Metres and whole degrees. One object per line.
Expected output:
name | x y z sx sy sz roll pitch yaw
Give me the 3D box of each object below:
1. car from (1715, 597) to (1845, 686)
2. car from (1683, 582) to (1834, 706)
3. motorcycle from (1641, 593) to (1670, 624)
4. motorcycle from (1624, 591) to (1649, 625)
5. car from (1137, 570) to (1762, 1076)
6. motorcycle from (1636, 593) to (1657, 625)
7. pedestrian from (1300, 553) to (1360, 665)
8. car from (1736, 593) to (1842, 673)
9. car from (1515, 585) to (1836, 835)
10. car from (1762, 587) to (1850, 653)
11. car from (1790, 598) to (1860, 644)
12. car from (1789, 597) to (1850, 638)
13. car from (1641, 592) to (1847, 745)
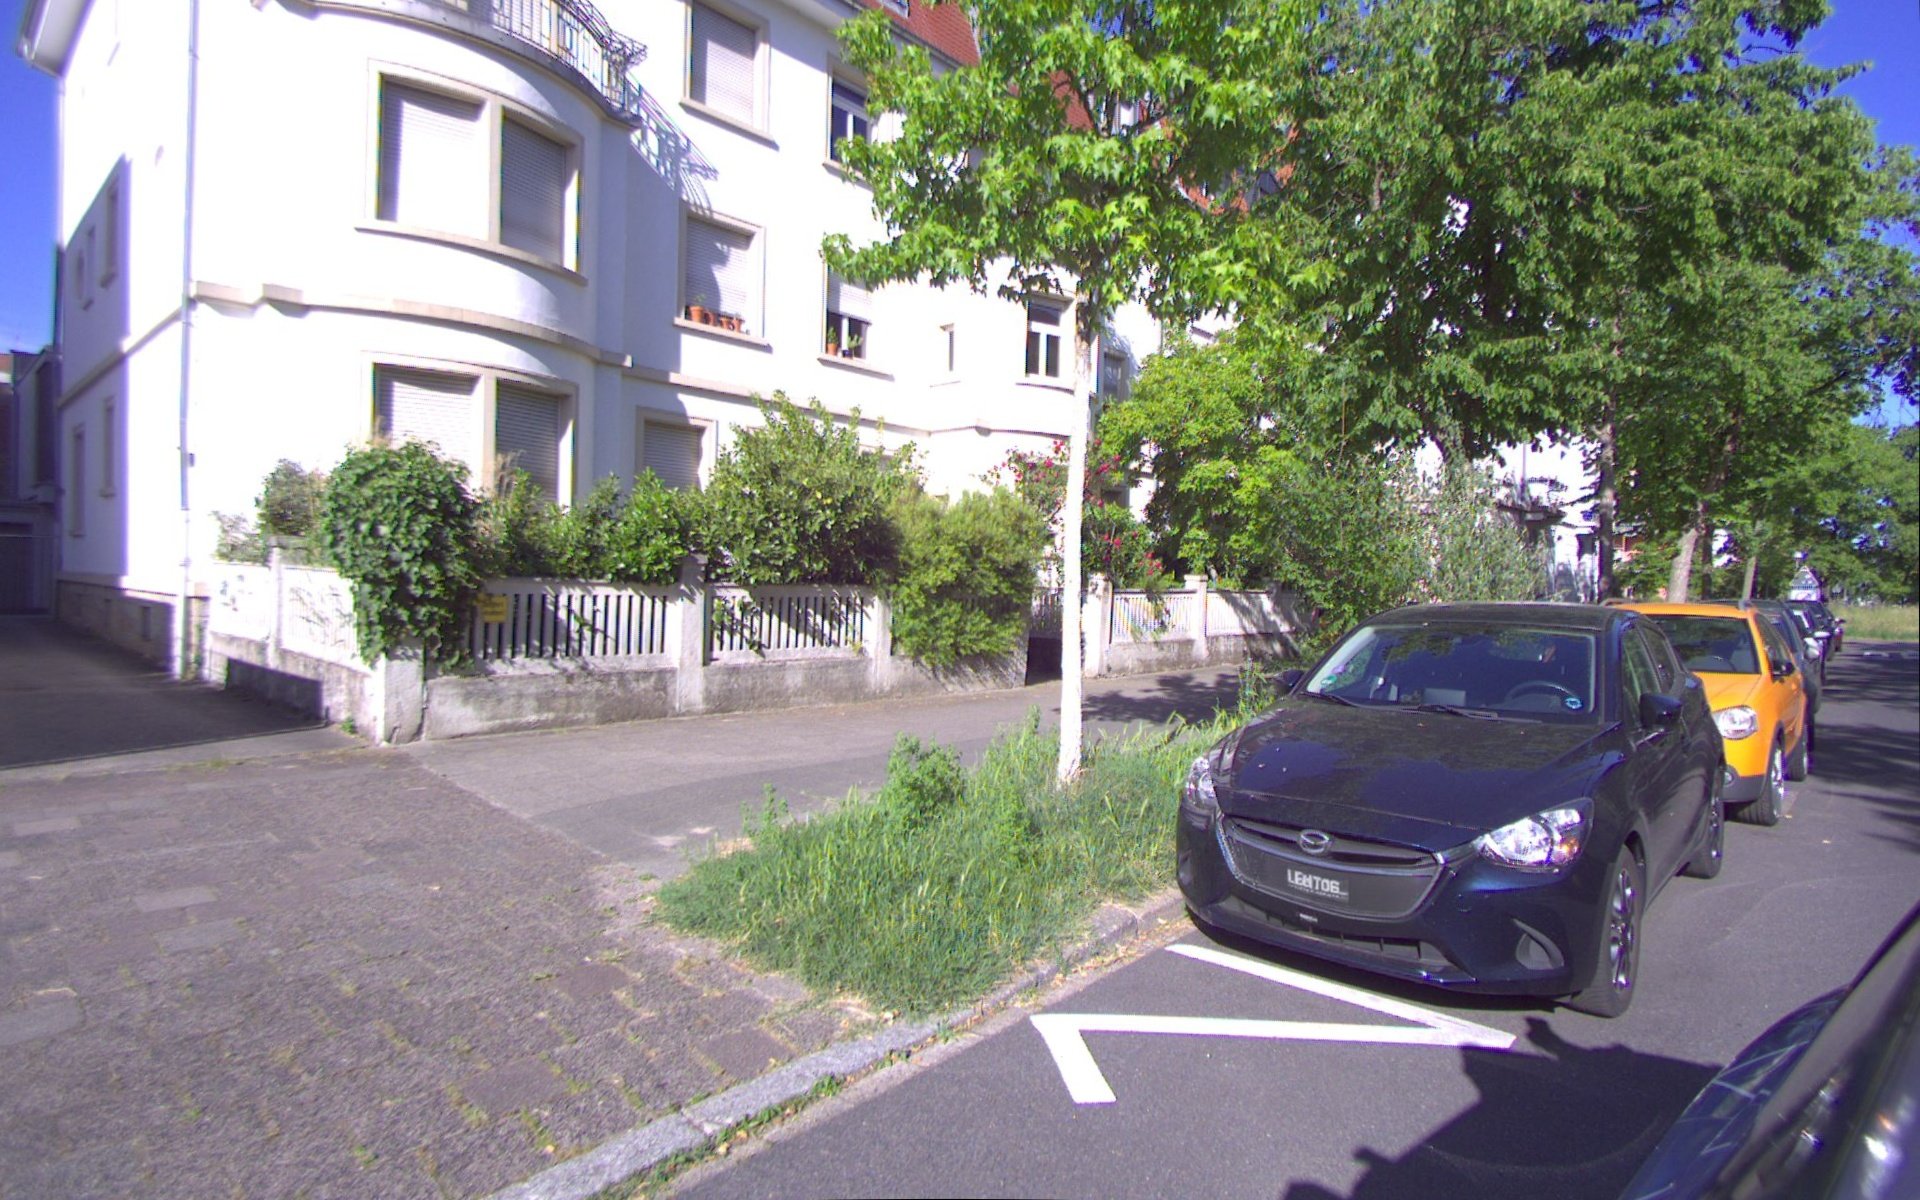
car | 15.600 0.696 19.162 1.629 1.442 4.301 3 2 42
car | 12.473 0.592 15.828 1.646 1.676 3.792 2 1 39
motorcycle | 30.885 0.357 44.910 0.968 1.345 1.828 2 1 37
motorcycle | 28.012 0.320 41.894 0.539 1.378 2.057 2 1 42
car | 2.723 0.649 5.066 1.700 1.467 4.019 3 2 43
motorcycle | 29.593 0.369 43.598 0.655 1.295 1.777 4 2 35
pedestrian | 6.175 0.138 16.875 0.622 1.797 0.787 3 2 42
car | 18.547 0.671 22.602 1.682 1.608 4.468 -1 -1 41
car | 5.947 0.664 8.202 1.636 1.473 4.037 3 2 42
car | 24.625 0.539 29.403 1.780 1.719 4.232 3 2 42
car | 29.402 0.658 34.505 1.608 1.427 4.291 2 1 38
car | 32.442 0.630 38.185 1.652 1.419 4.073 2 1 41
car | 9.269 0.675 11.921 1.648 1.446 3.559 3 2 40
